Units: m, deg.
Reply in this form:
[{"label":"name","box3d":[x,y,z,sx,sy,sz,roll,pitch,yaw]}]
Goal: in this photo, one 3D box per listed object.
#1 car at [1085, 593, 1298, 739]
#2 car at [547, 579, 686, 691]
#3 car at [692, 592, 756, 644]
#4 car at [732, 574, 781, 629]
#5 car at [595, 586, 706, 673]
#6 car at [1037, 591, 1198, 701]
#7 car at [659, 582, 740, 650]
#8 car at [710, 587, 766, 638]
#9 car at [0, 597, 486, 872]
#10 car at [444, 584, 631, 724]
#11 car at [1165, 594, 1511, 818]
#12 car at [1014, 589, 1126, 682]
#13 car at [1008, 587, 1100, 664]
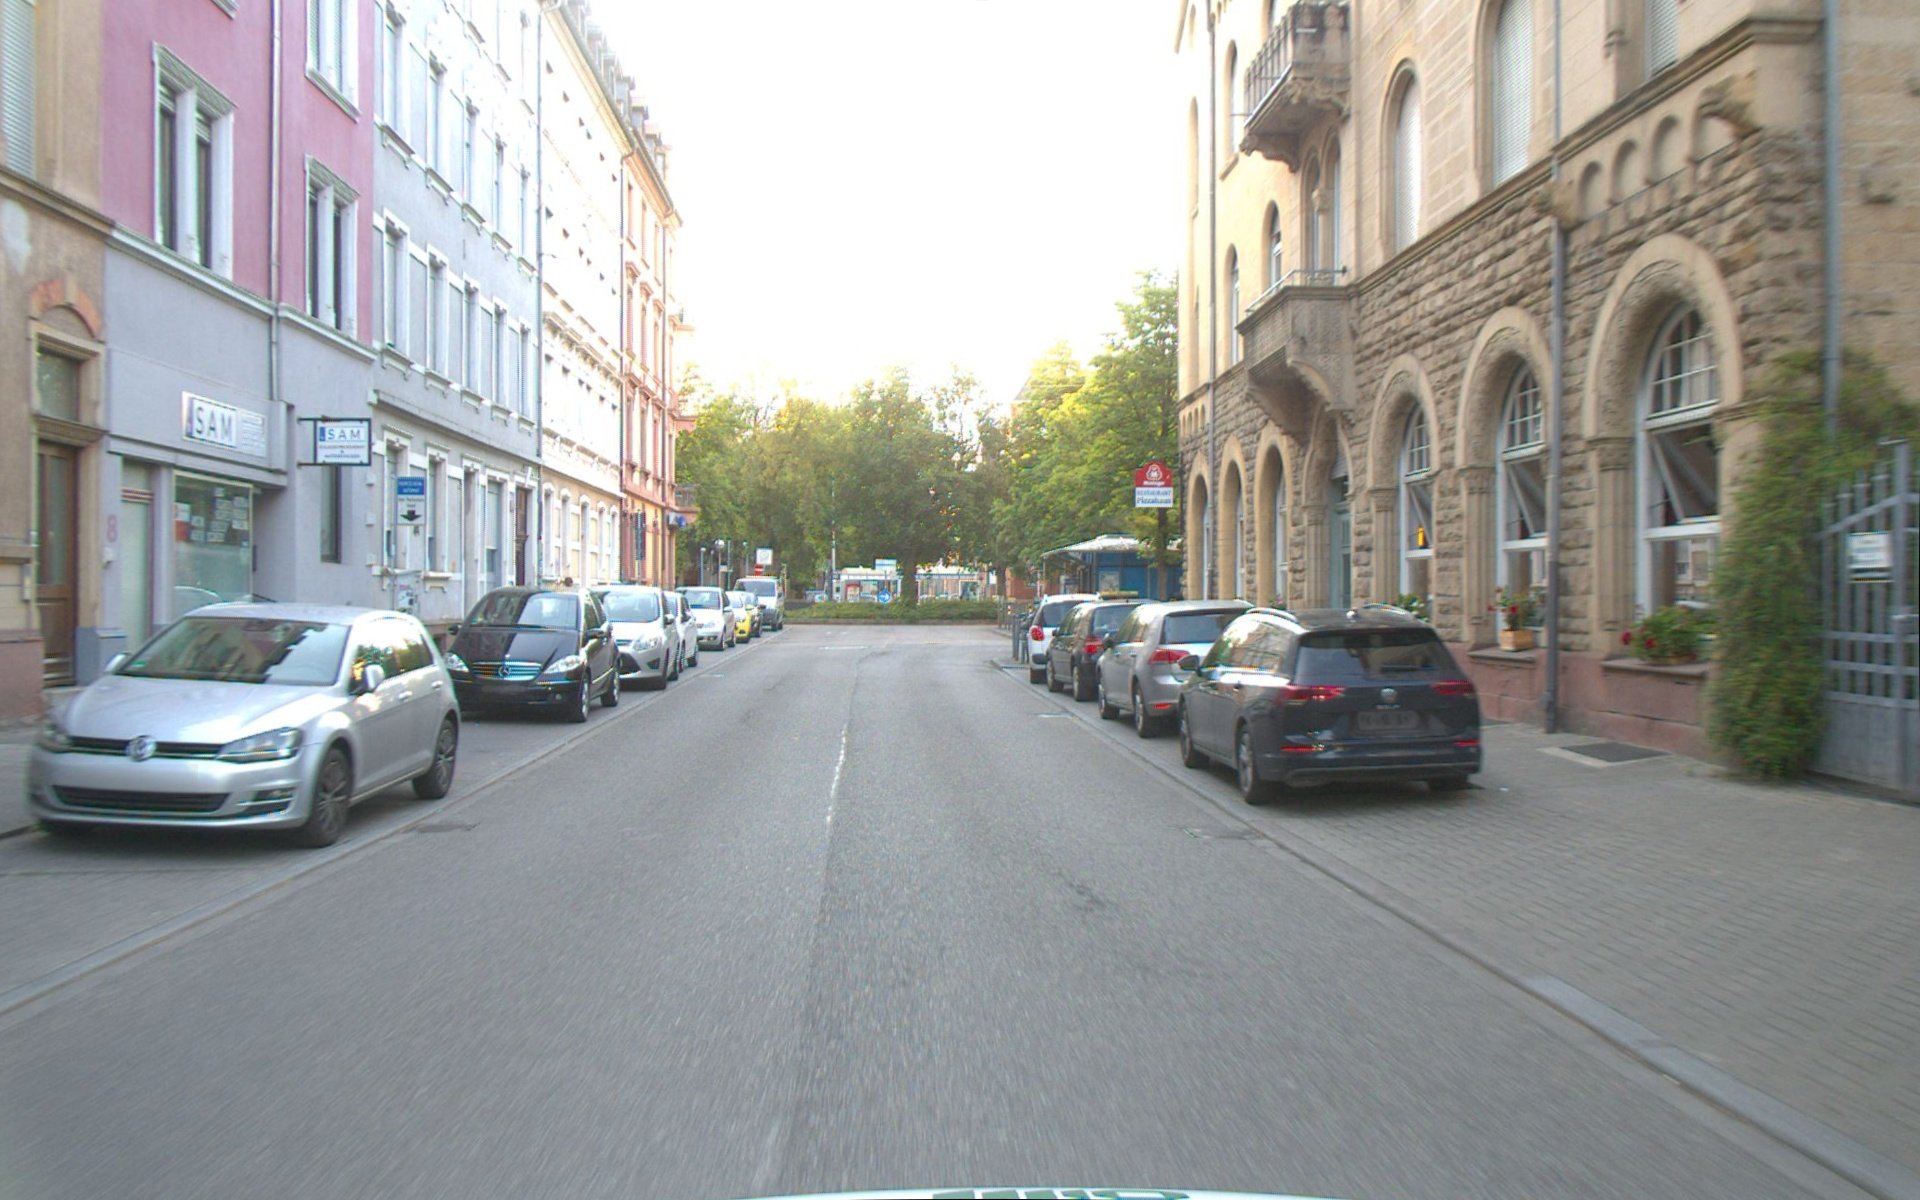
[{"label":"car","box3d":[2.651,0.698,19.878,1.643,1.481,4.227,-3,0,-4]},{"label":"car","box3d":[-5.563,0.525,27.219,1.809,1.688,4.247,0,0,-6]},{"label":"car","box3d":[-7.041,0.507,49.534,1.665,1.451,4.017,2,0,-6]},{"label":"car","box3d":[-7.821,0.046,63.583,1.776,2.011,4.180,2,0,-7]},{"label":"car","box3d":[-6.058,0.544,32.722,1.665,1.579,3.567,2,0,-3]},{"label":"car","box3d":[2.337,0.651,25.471,1.644,1.481,3.795,-3,0,-7]},{"label":"car","box3d":[-6.761,0.408,43.287,1.665,1.649,4.019,2,0,-3]},{"label":"car","box3d":[-7.402,0.404,55.450,1.665,1.579,4.017,2,0,-6]},{"label":"car","box3d":[-4.756,0.768,11.546,1.798,1.483,4.204,3,0,-3]},{"label":"car","box3d":[-5.270,0.623,21.048,1.604,1.593,3.778,1,0,-4]},{"label":"car","box3d":[2.944,0.733,13.884,1.643,1.453,4.476,-4,0,-2]},{"label":"car","box3d":[1.964,0.601,30.483,1.642,1.527,3.900,-3,0,-1]},{"label":"car","box3d":[2.013,0.515,36.358,1.642,1.527,4.017,-3,0,-1]}]
